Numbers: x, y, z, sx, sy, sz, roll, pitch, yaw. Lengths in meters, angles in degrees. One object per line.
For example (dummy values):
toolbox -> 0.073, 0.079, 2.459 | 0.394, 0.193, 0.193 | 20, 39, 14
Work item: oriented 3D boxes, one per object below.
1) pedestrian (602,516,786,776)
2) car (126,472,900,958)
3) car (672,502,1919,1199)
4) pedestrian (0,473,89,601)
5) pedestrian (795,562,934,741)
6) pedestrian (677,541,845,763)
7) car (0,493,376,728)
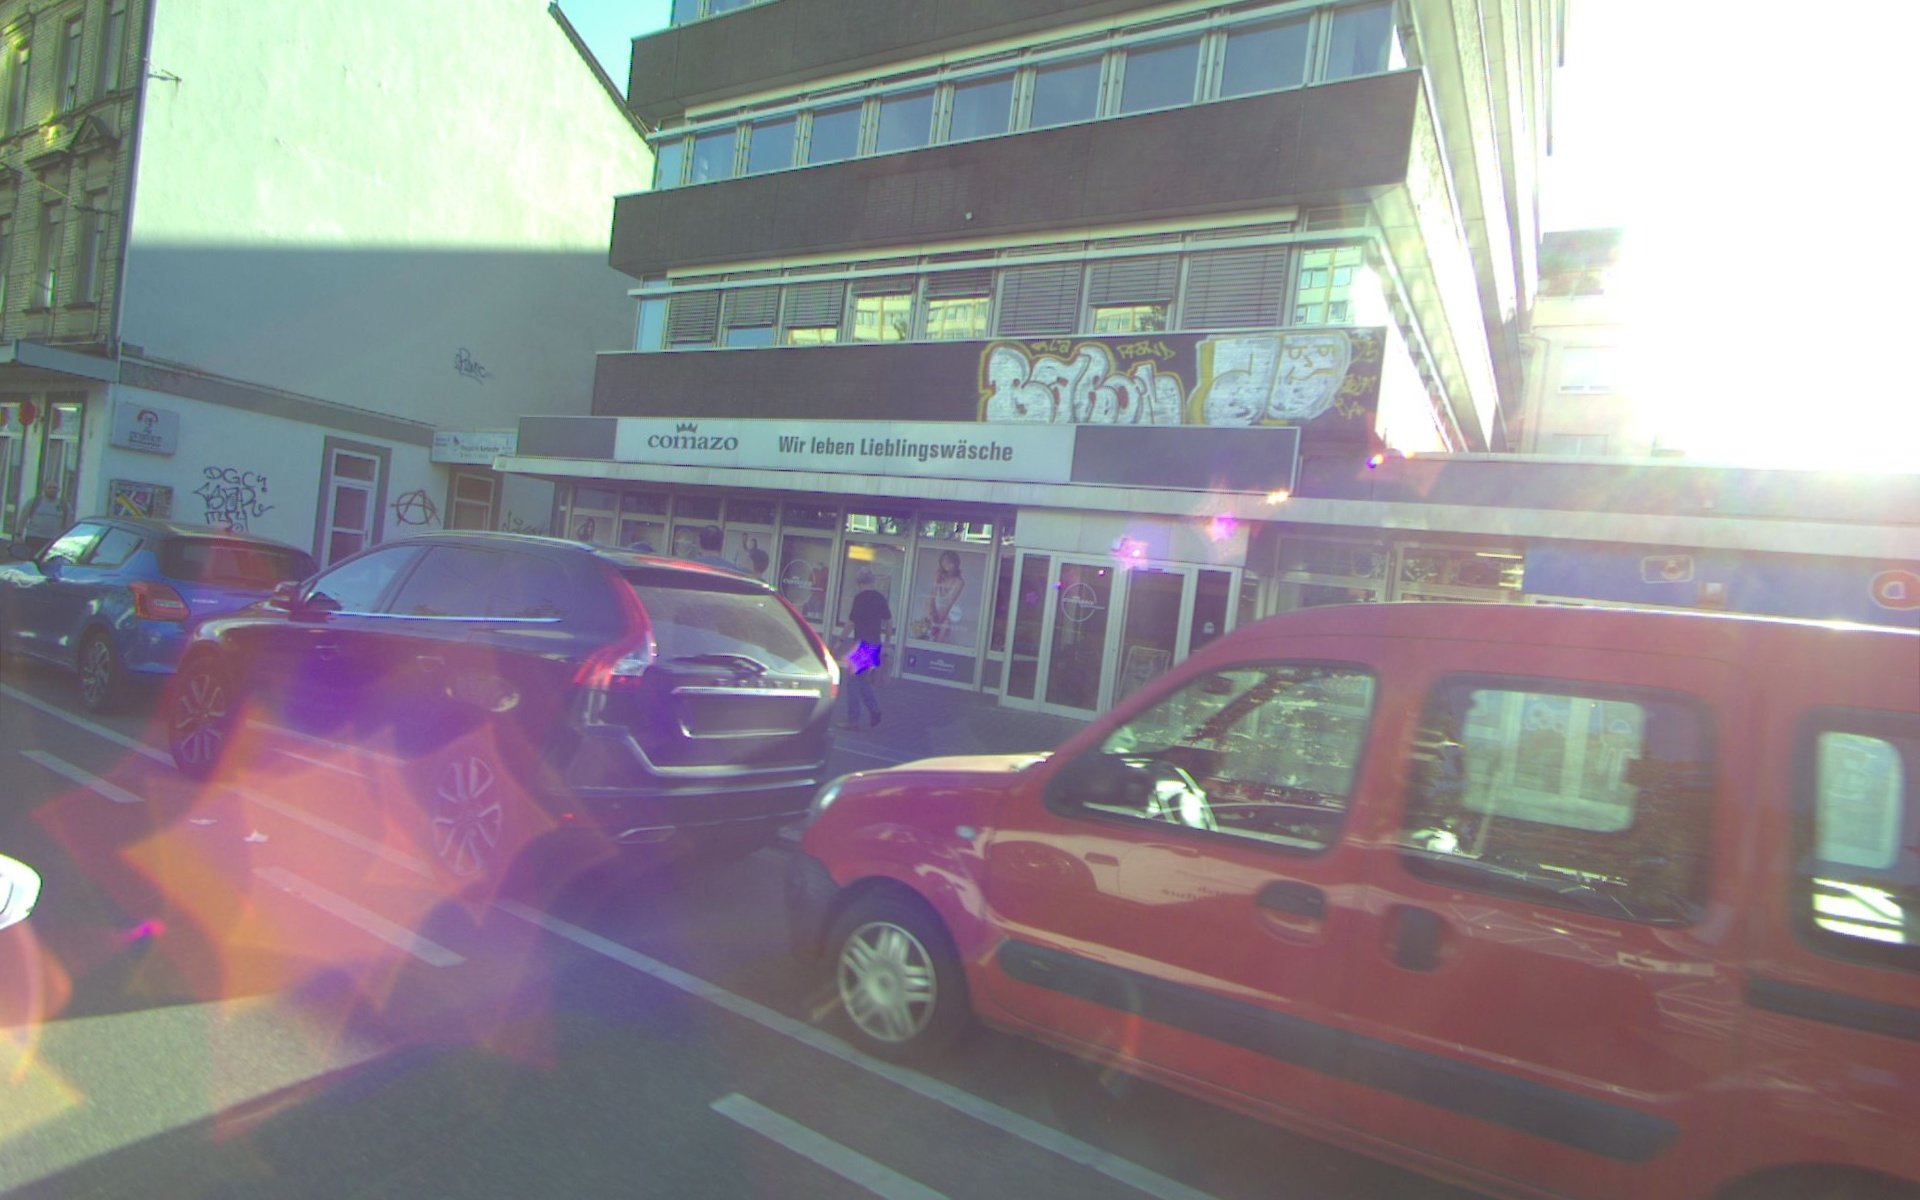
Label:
pedestrian -> -2.167, 0.352, 8.211 | 1.016, 1.923, 0.794 | 7, 1, 31
car -> -2.762, 0.393, 5.898 | 4.401, 1.778, 1.824 | 7, -1, 32
car -> 1.208, 0.824, 3.481 | 4.177, 1.829, 1.678 | 7, -1, 31
pedestrian -> -13.408, -0.909, 14.663 | 0.930, 1.761, 0.787 | 7, 3, 31
pedestrian -> -1.019, 0.530, 10.802 | 1.016, 1.736, 0.900 | 7, 3, 31
pedestrian -> -1.759, 0.440, 8.933 | 1.016, 1.779, 0.811 | 7, 1, 31
car -> -7.077, 0.035, 8.798 | 3.731, 1.509, 1.642 | 8, -2, 30
